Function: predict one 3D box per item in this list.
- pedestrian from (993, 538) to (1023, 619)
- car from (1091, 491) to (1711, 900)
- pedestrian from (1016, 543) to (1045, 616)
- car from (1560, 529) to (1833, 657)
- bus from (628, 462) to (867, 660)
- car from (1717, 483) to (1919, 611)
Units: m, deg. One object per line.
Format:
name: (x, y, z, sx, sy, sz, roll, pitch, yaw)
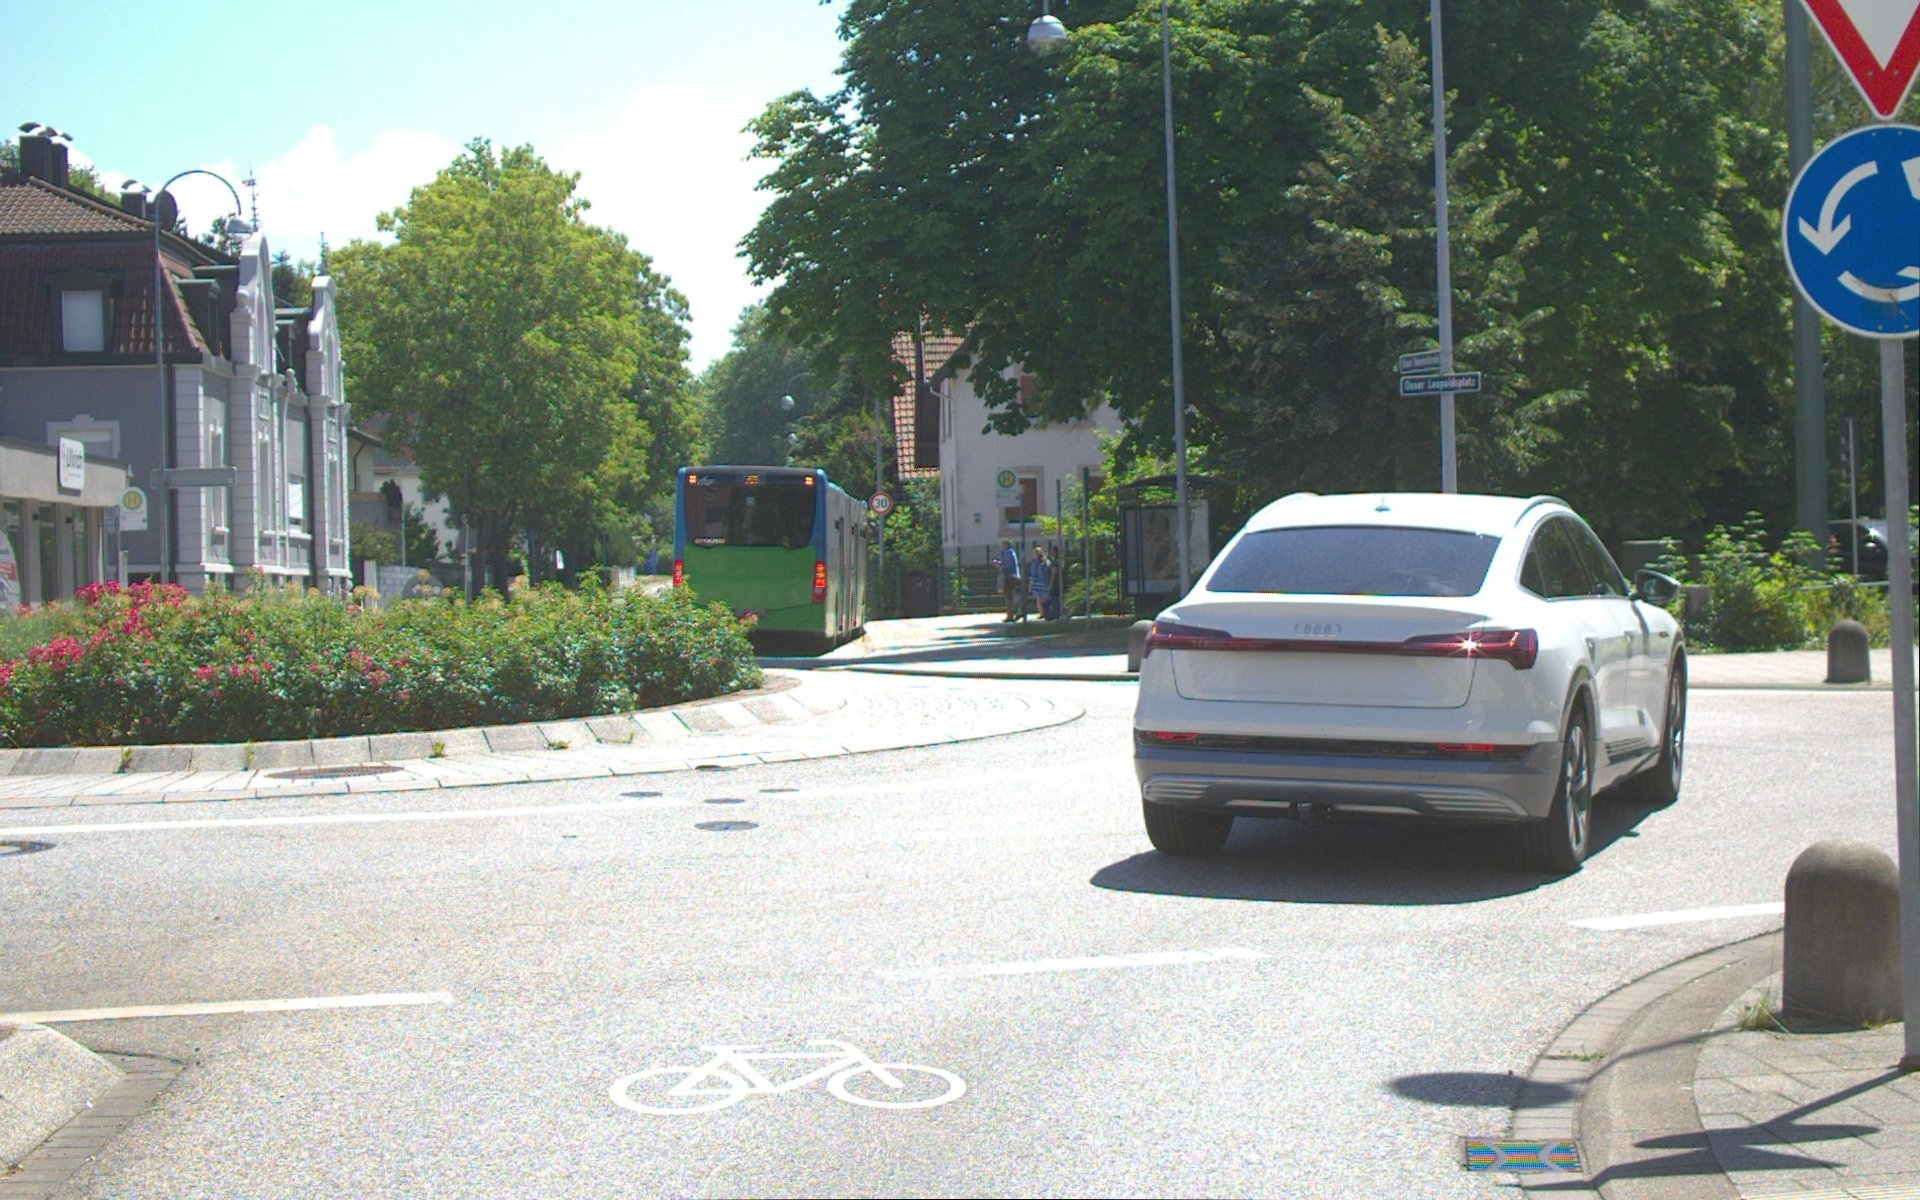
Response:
pedestrian: (0.991, -0.436, 70.705, 0.502, 1.644, 0.580, -2, 1, -8)
car: (2.252, 0.318, 16.374, 1.900, 1.656, 4.405, 1, 2, 21)
pedestrian: (1.482, -0.434, 72.314, 0.488, 1.517, 0.543, -2, 1, -8)
car: (9.620, -0.105, 44.967, 3.048, 1.547, 1.635, -2, 1, -16)
bus: (-3.668, -0.669, 64.389, 3.706, 3.160, 18.070, 0, 0, -1)
car: (14.636, -0.859, 56.081, 1.995, 2.007, 3.998, -2, 1, -42)
